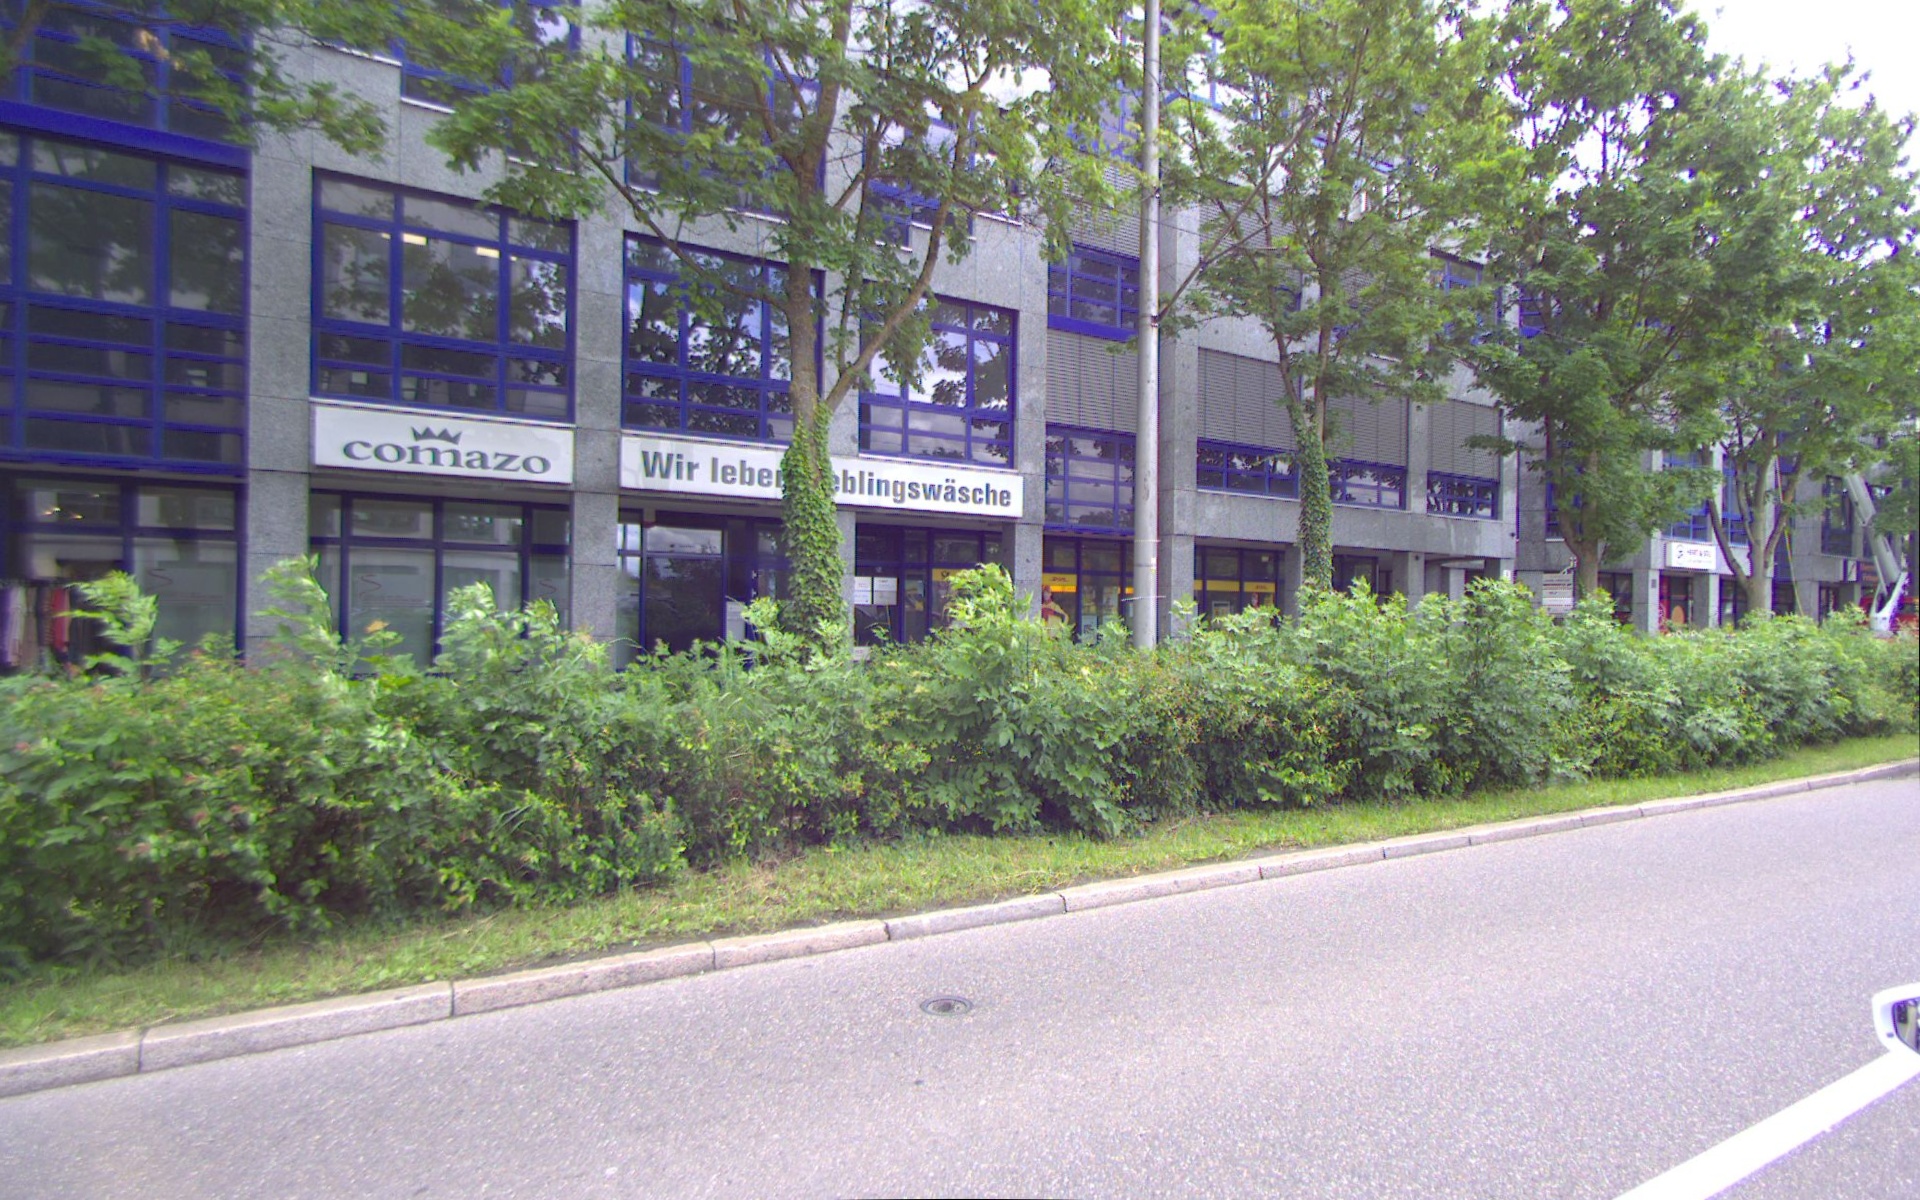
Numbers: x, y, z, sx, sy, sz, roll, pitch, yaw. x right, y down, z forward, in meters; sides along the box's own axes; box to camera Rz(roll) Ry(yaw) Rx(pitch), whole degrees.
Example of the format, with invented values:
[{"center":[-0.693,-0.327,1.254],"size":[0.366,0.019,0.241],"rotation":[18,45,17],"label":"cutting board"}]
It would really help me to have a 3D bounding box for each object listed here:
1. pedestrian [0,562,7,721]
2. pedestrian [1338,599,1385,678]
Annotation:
[{"center":[-11.734,0.498,11.702],"size":[0.723,1.919,0.770],"rotation":[2,0,-31],"label":"pedestrian"},{"center":[10.014,0.957,25.065],"size":[0.723,1.919,0.771],"rotation":[2,0,-30],"label":"pedestrian"}]
